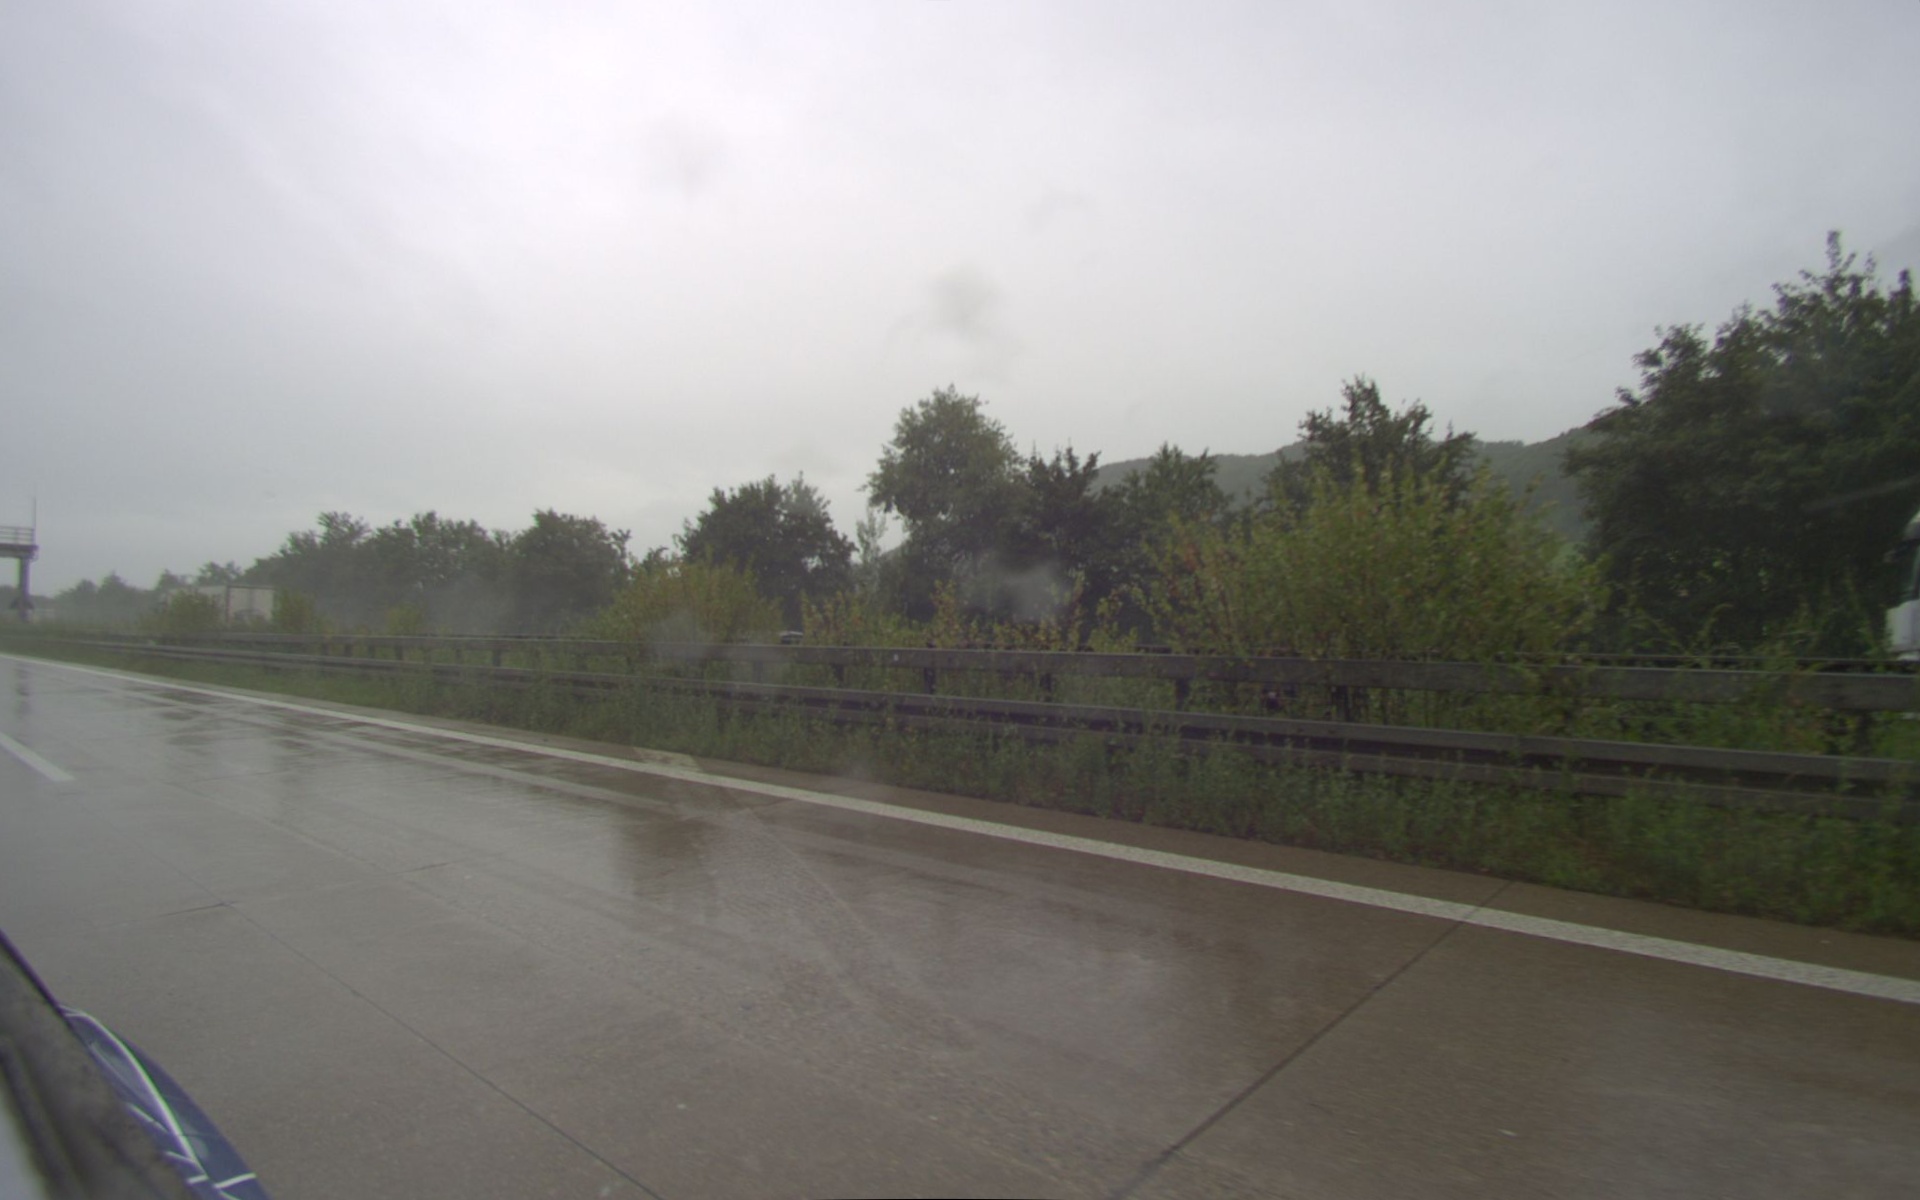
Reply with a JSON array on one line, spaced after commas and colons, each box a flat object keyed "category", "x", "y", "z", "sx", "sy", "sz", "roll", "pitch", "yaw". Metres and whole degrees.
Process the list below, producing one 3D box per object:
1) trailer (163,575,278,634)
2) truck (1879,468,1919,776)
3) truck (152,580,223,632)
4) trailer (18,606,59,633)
[{"category": "trailer", "x": -48.949, "y": 0.350, "z": 66.755, "sx": 13.694, "sy": 3.569, "sz": 2.824, "roll": -1, "pitch": 0, "yaw": 39}, {"category": "truck", "x": 16.153, "y": 0.263, "z": 13.509, "sx": 5.515, "sy": 4.216, "sz": 3.339, "roll": -1, "pitch": -1, "yaw": 40}, {"category": "truck", "x": -54.449, "y": 0.450, "z": 71.262, "sx": 5.726, "sy": 3.536, "sz": 2.786, "roll": -2, "pitch": -1, "yaw": 40}, {"category": "trailer", "x": -129.057, "y": 2.749, "z": 141.686, "sx": 12.280, "sy": 3.702, "sz": 2.934, "roll": -2, "pitch": -1, "yaw": 41}]
